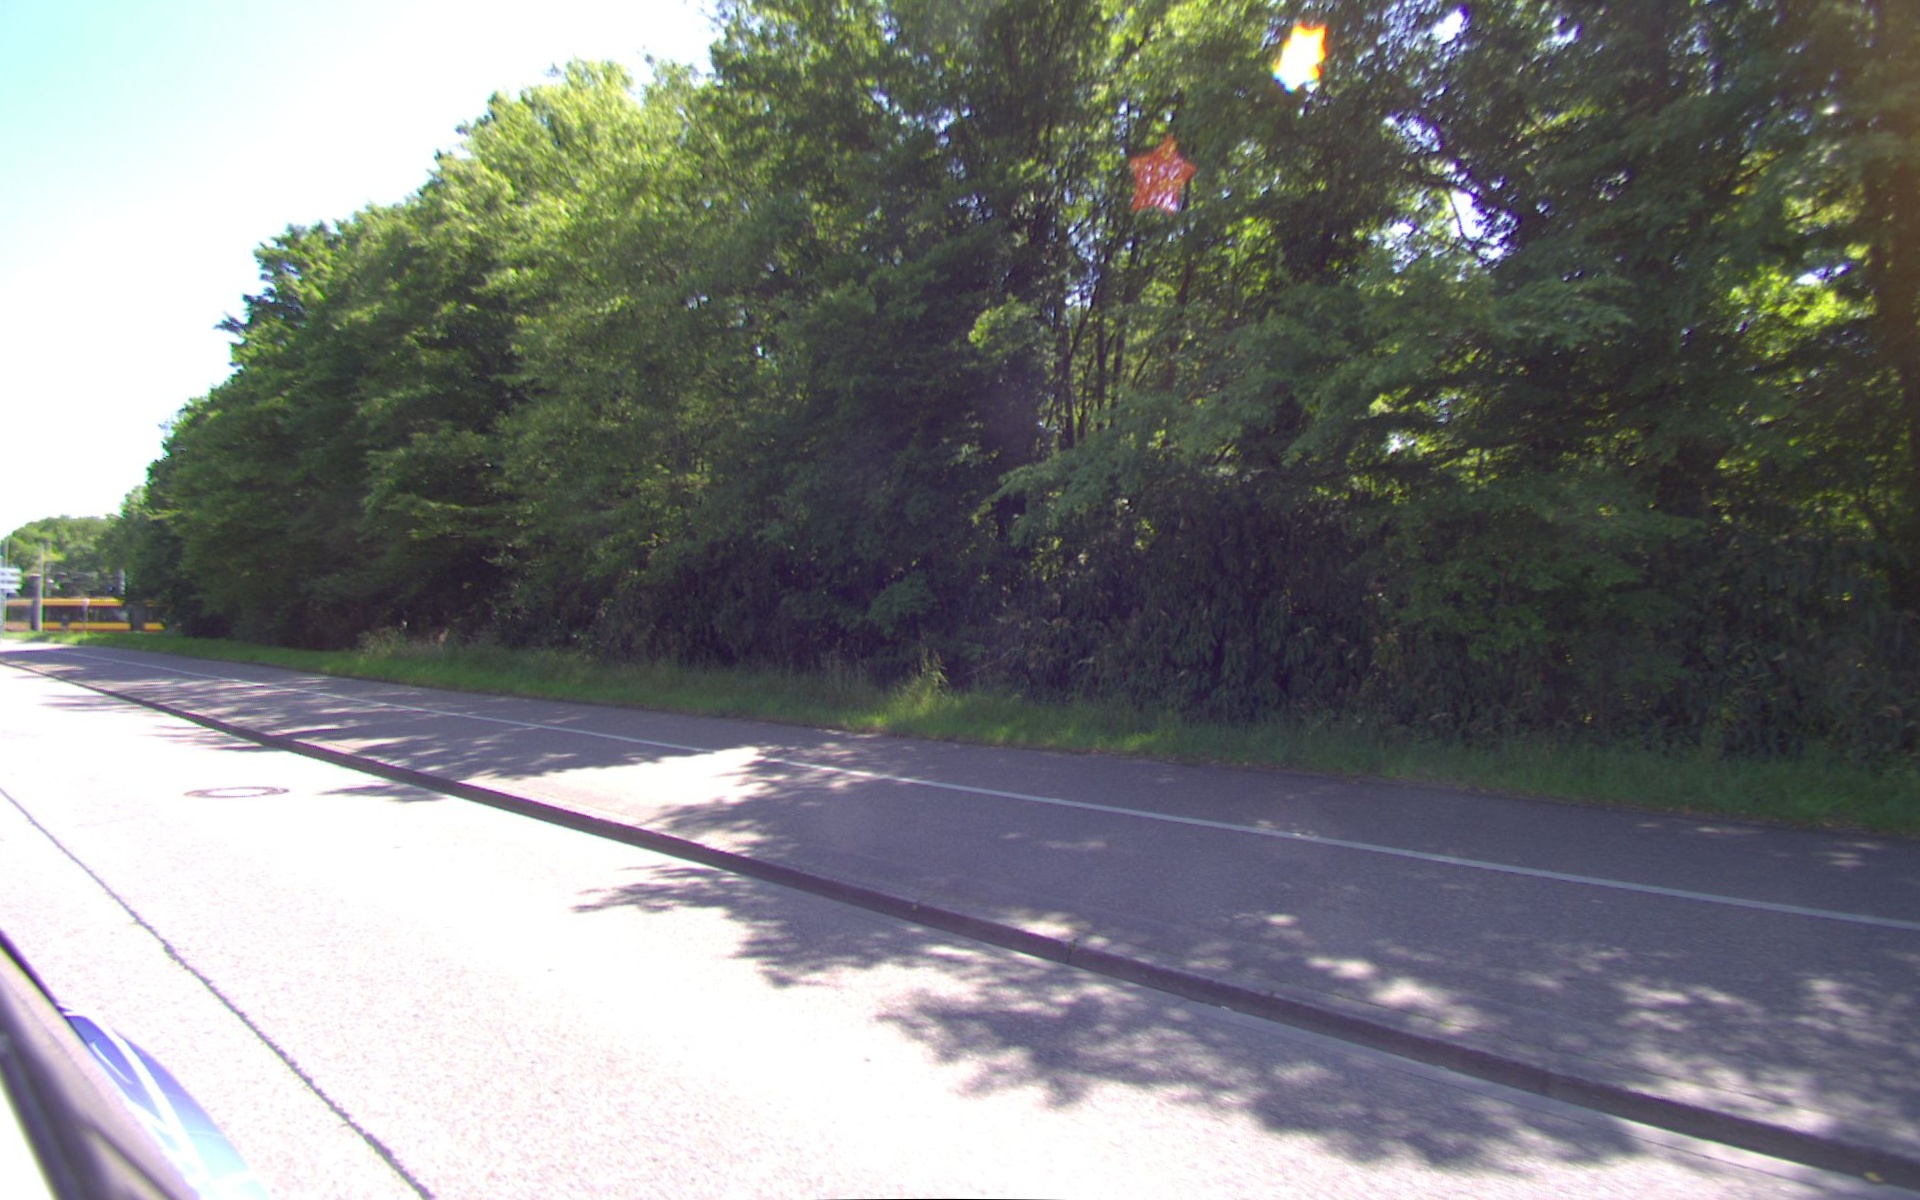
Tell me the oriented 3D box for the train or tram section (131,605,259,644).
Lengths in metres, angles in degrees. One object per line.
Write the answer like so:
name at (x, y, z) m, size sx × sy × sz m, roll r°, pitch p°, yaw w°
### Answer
train or tram section at (-71.900, 2.286, 95.310) m, size 9.192 × 3.492 × 2.791 m, roll 0°, pitch -1°, yaw -17°

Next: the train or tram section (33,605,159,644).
train or tram section at (-80.885, 2.314, 94.790) m, size 10.730 × 3.492 × 2.644 m, roll 0°, pitch -1°, yaw 9°

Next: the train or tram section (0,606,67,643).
train or tram section at (-90.489, 2.414, 98.505) m, size 10.823 × 3.492 × 2.550 m, roll -1°, pitch -2°, yaw 34°
